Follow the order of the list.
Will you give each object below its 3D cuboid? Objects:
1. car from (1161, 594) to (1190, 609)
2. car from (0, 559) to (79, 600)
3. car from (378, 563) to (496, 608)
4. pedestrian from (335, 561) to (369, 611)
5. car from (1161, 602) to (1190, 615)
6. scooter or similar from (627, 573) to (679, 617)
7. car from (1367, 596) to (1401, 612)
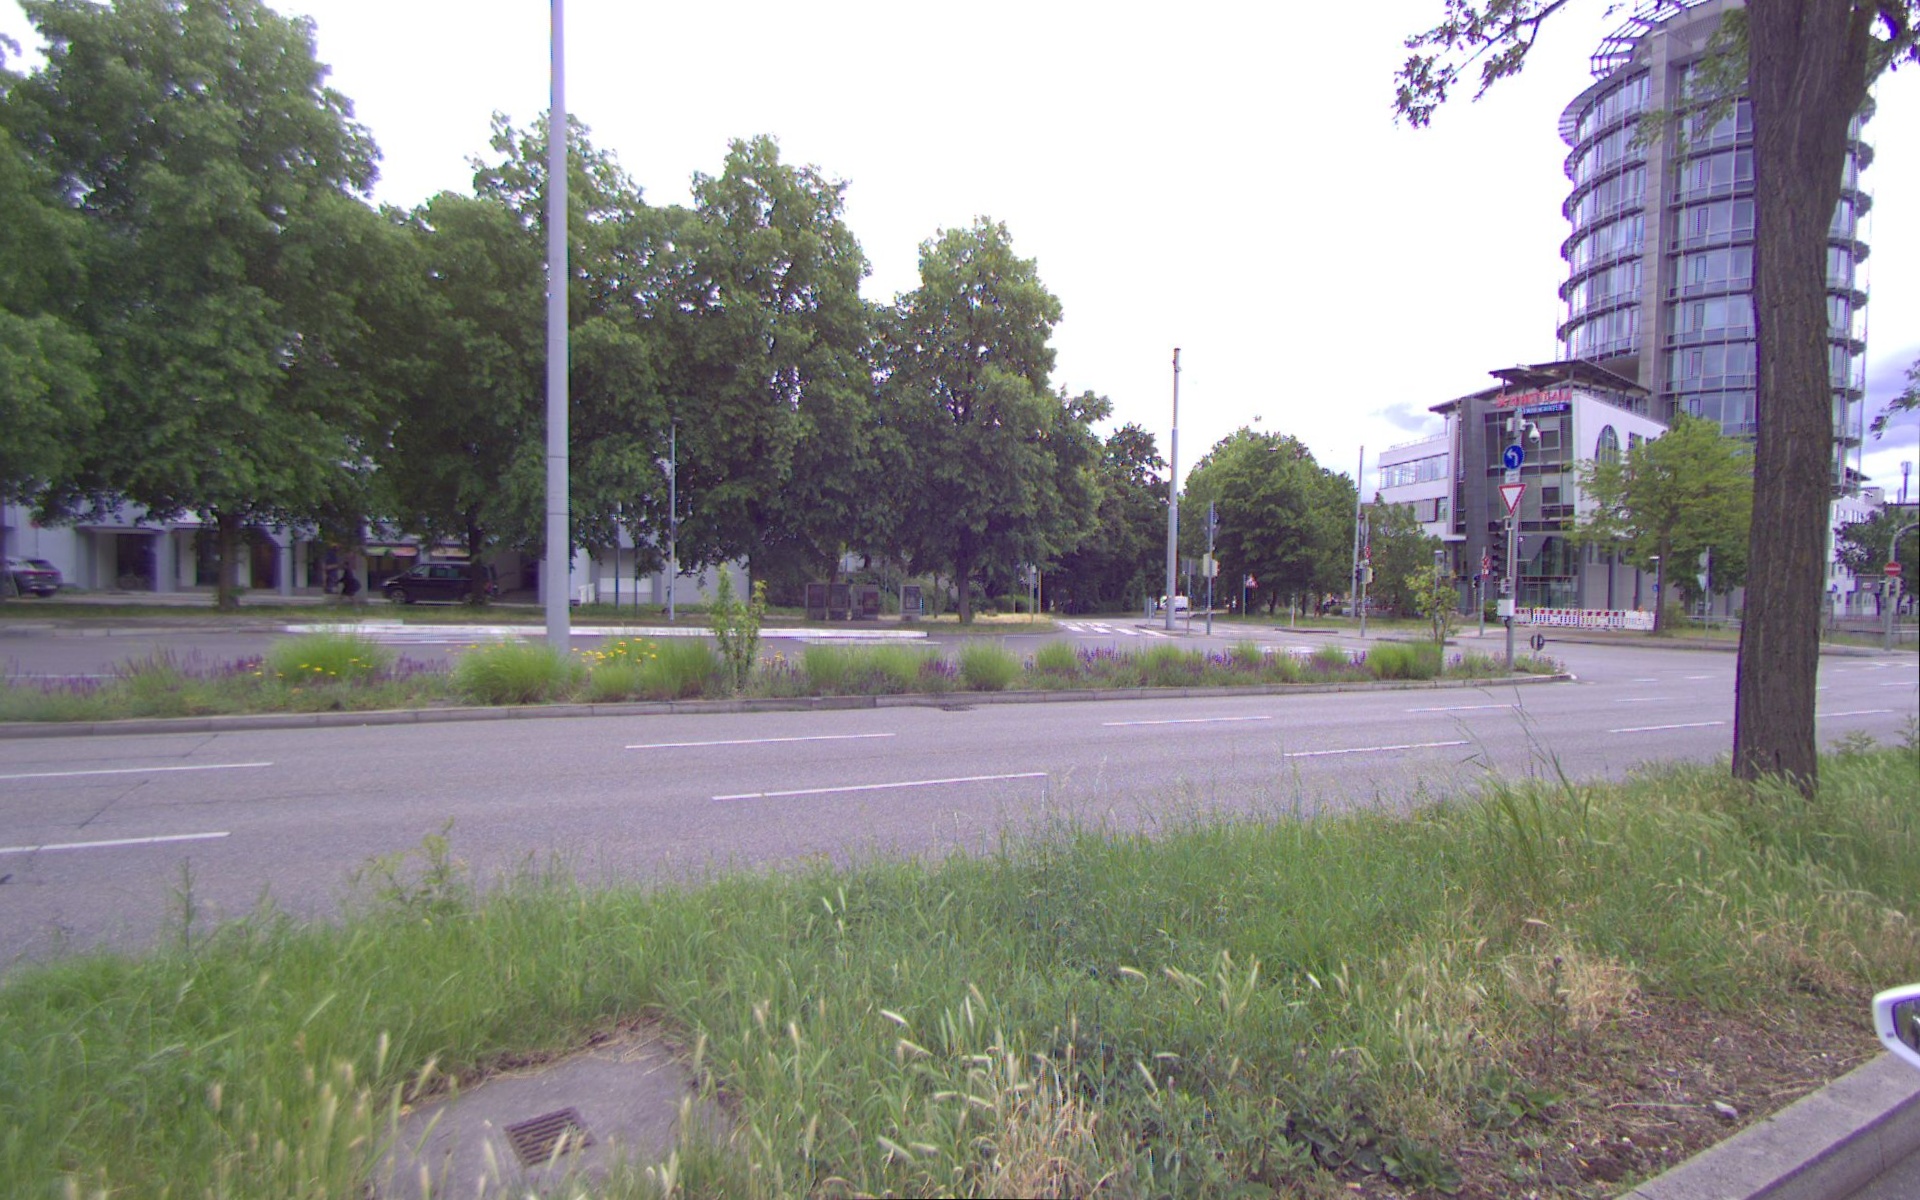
[{"bbox_3d":[37.674,0.243,175.760,4.475,2.370,1.994,2,0,-16],"label":"car"},{"bbox_3d":[-37.016,-0.825,38.949,3.927,1.532,1.757,1,1,-9],"label":"car"},{"bbox_3d":[-23.314,-0.641,44.953,4.345,1.872,1.781,1,1,-16],"label":"car"},{"bbox_3d":[-19.597,-0.438,32.387,0.894,1.578,0.766,1,1,-30],"label":"pedestrian"},{"bbox_3d":[36.544,1.378,170.396,4.475,2.061,1.993,1,1,-16],"label":"car"},{"bbox_3d":[-11.867,-0.187,38.856,1.835,1.686,0.645,1,1,-43],"label":"scooter or similar"},{"bbox_3d":[25.044,0.230,59.399,1.684,0.888,0.776,1,0,7],"label":"car"}]
